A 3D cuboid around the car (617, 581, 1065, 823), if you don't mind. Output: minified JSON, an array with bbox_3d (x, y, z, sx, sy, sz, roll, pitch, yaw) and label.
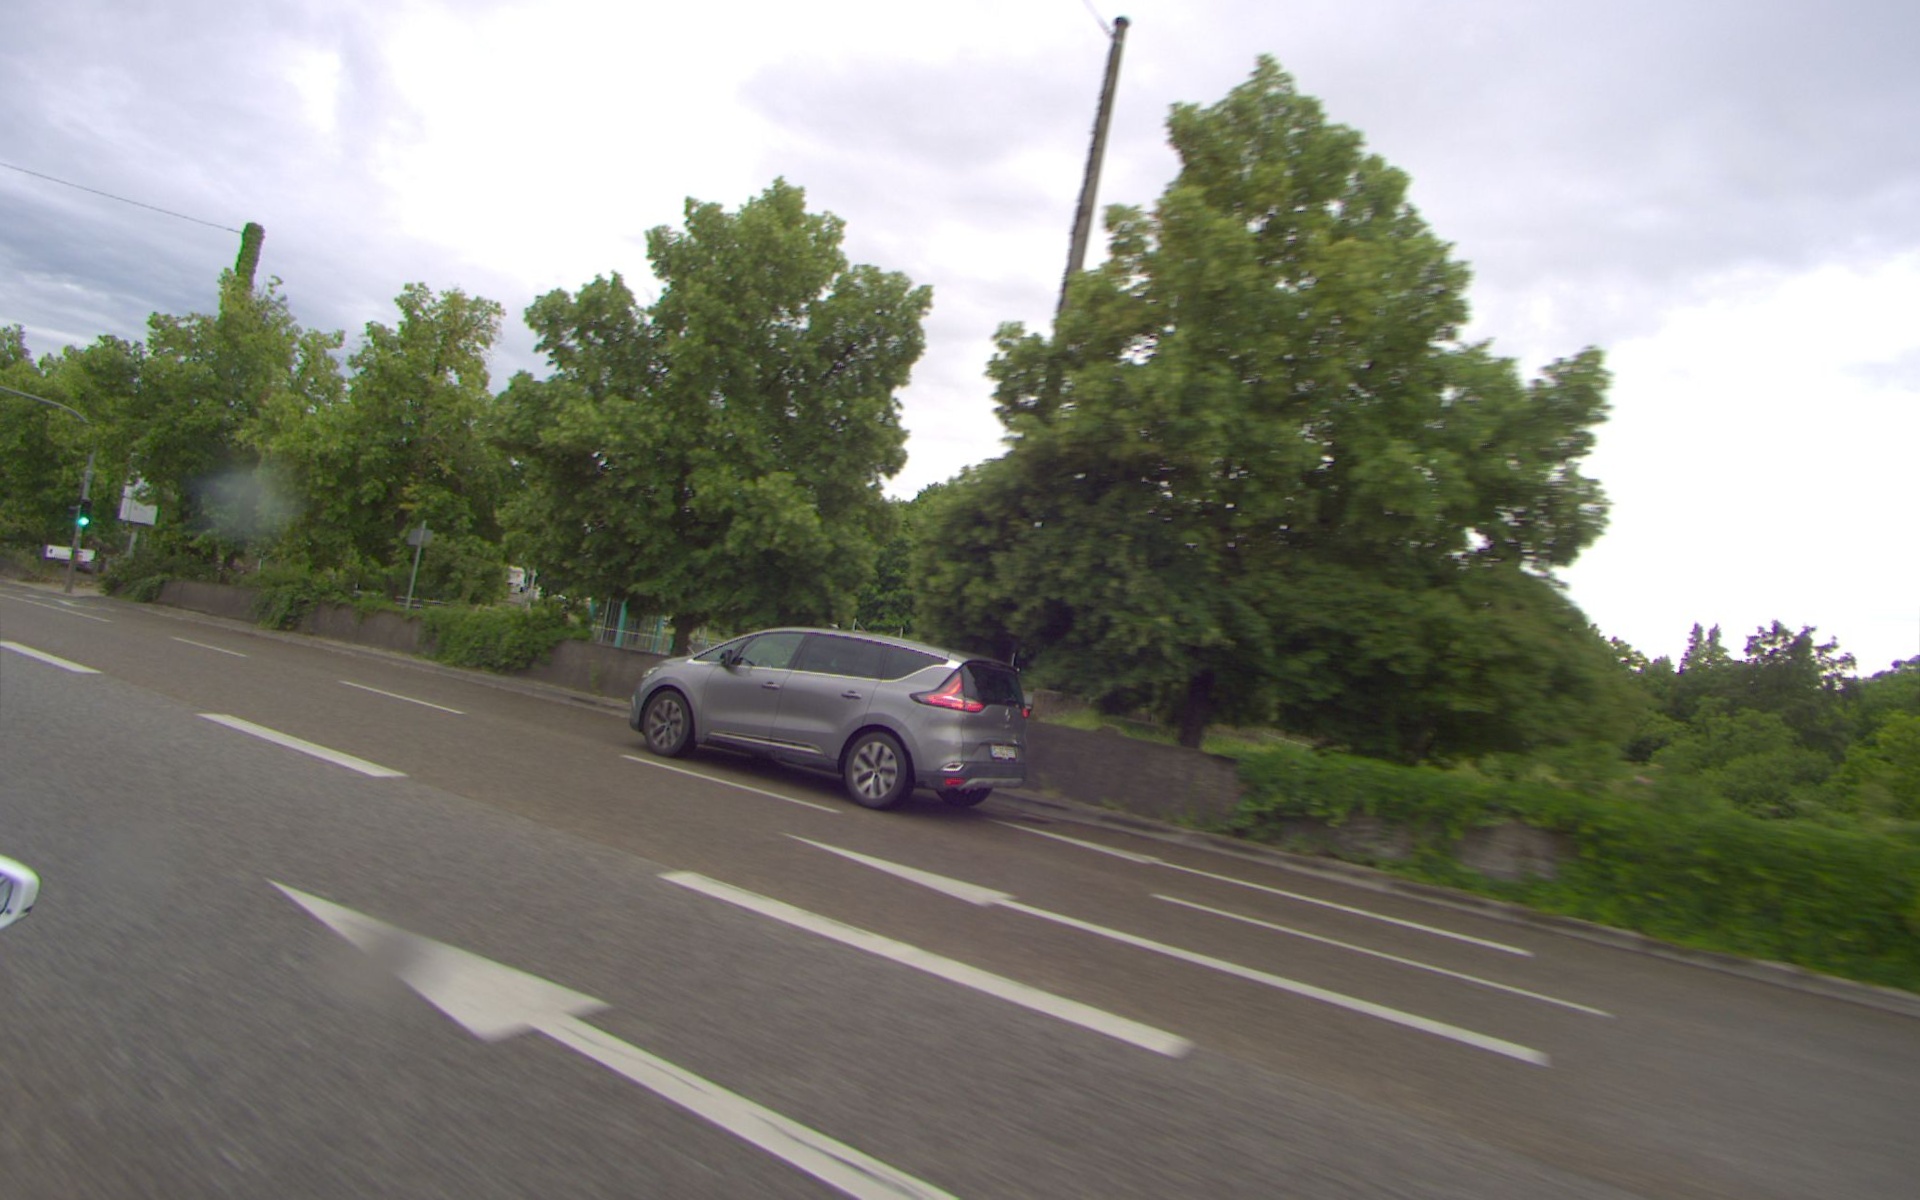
[{"bbox_3d":[-1.393,1.029,10.949,4.548,1.665,1.732,8,-4,32],"label":"car"}]
